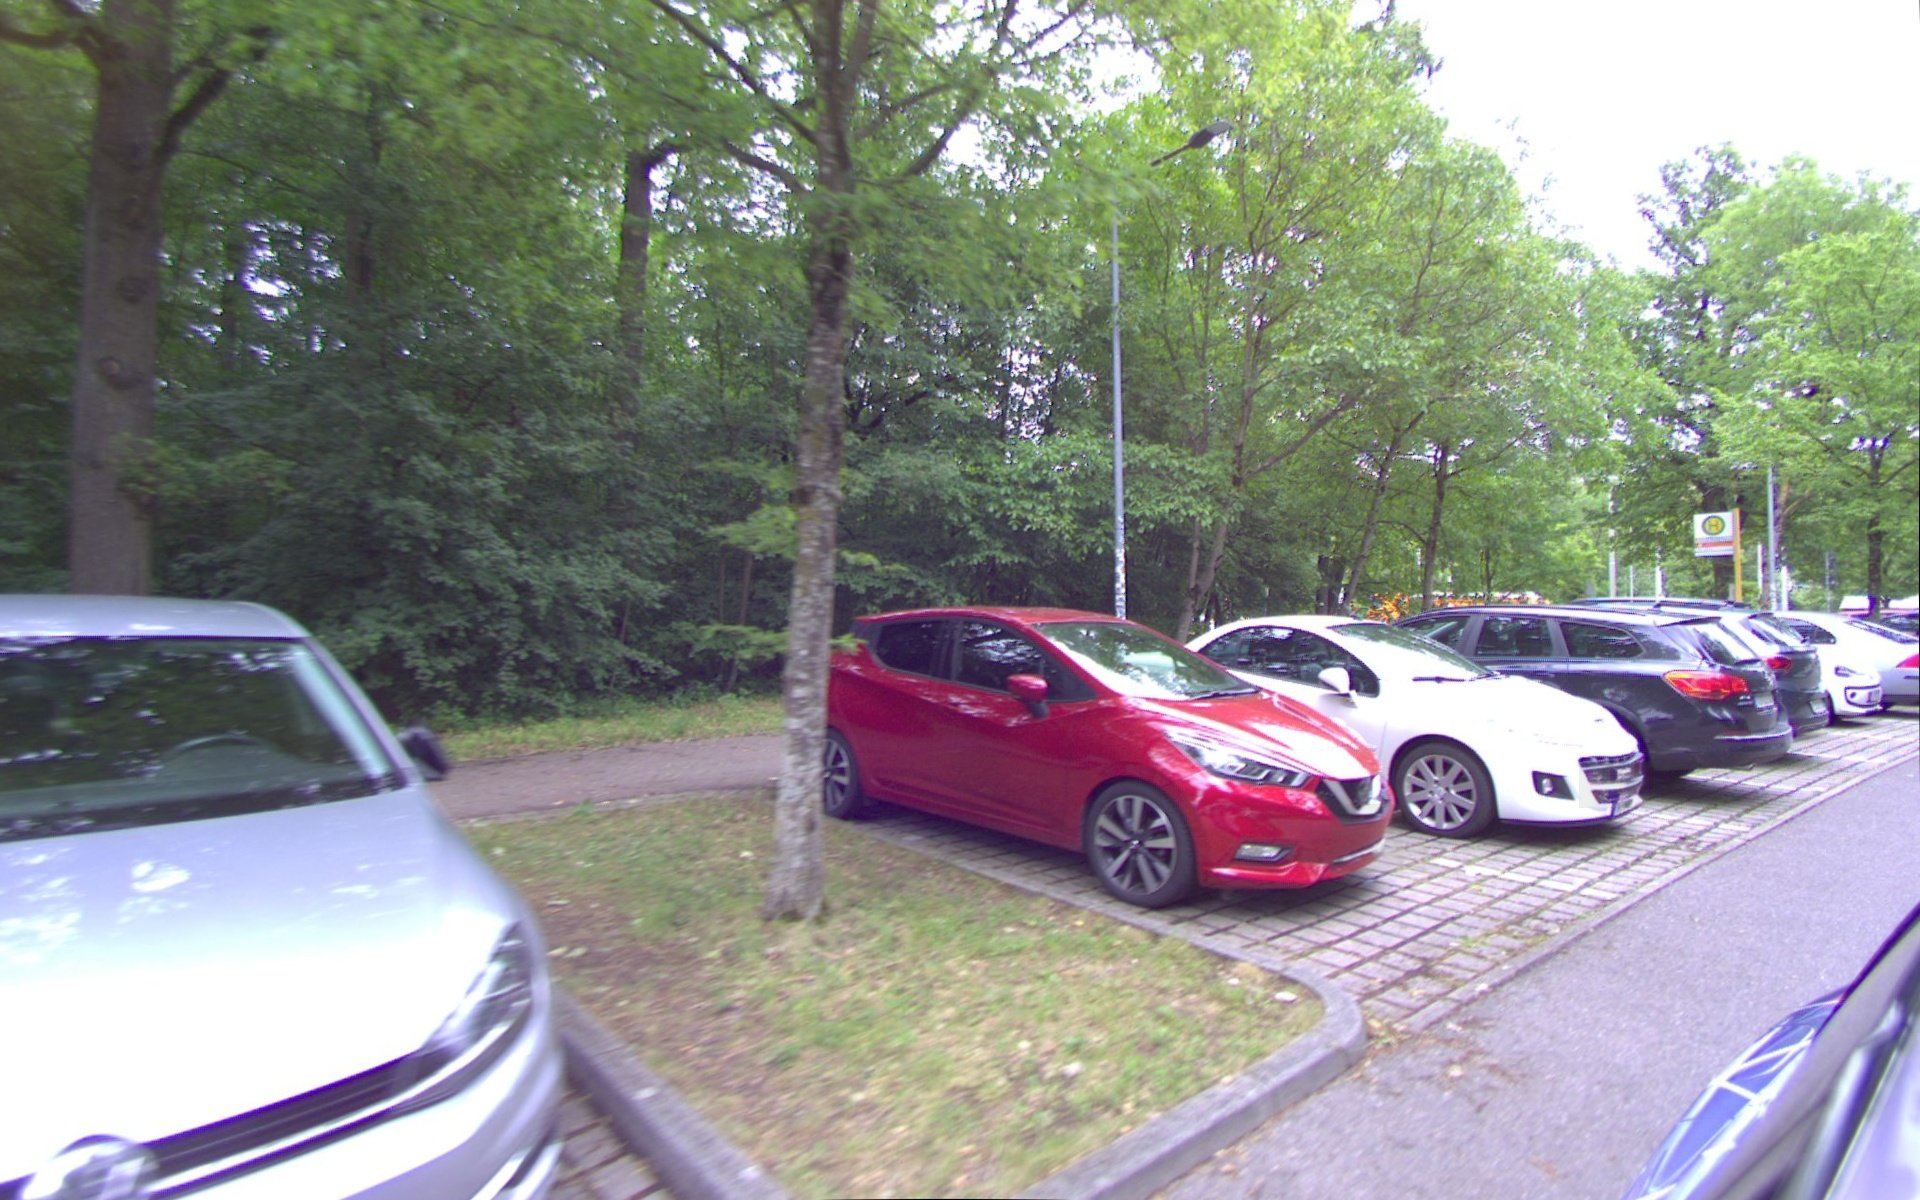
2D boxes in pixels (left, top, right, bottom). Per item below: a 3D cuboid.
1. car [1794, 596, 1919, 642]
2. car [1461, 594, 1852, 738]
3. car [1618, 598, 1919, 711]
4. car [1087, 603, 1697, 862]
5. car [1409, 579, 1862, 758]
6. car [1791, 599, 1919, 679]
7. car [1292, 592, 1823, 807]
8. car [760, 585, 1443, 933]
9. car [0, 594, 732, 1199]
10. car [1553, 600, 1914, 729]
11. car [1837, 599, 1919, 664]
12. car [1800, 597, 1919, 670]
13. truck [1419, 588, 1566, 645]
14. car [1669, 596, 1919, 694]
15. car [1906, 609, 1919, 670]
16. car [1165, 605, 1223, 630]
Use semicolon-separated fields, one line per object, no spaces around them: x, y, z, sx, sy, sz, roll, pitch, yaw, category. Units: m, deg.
37.738;0.828;41.911;1.962;1.773;4.577;4;-4;-35;car
8.815;0.714;13.073;1.699;1.565;3.852;1;0;-38;car
12.700;0.735;15.396;1.829;1.480;4.140;0;0;-34;car
3.058;0.763;7.806;1.844;1.429;3.940;2;-1;-40;car
7.271;0.633;11.202;1.913;1.610;3.778;2;-1;-37;car
18.967;0.758;19.648;1.884;1.502;4.002;1;0;-32;car
5.148;0.701;9.084;1.743;1.500;3.773;2;-1;-41;car
0.679;0.671;6.218;3.791;1.459;1.842;0;-1;42;car
-2.527;0.739;2.920;1.852;1.503;3.979;2;-1;-44;car
10.680;0.773;14.208;1.718;1.530;3.713;0;0;-36;car
23.111;0.744;22.760;1.815;1.494;4.793;2;-1;-29;car
20.803;0.700;21.458;1.881;1.499;4.245;0;0;-32;car
35.176;1.044;67.211;2.813;3.559;8.249;2;-1;-34;truck
14.678;0.692;17.147;1.905;1.468;3.999;1;0;-36;car
25.204;0.921;23.753;1.840;1.502;4.002;0;-1;-31;car
17.582;1.344;76.202;1.961;1.739;4.000;4;-3;-33;car
